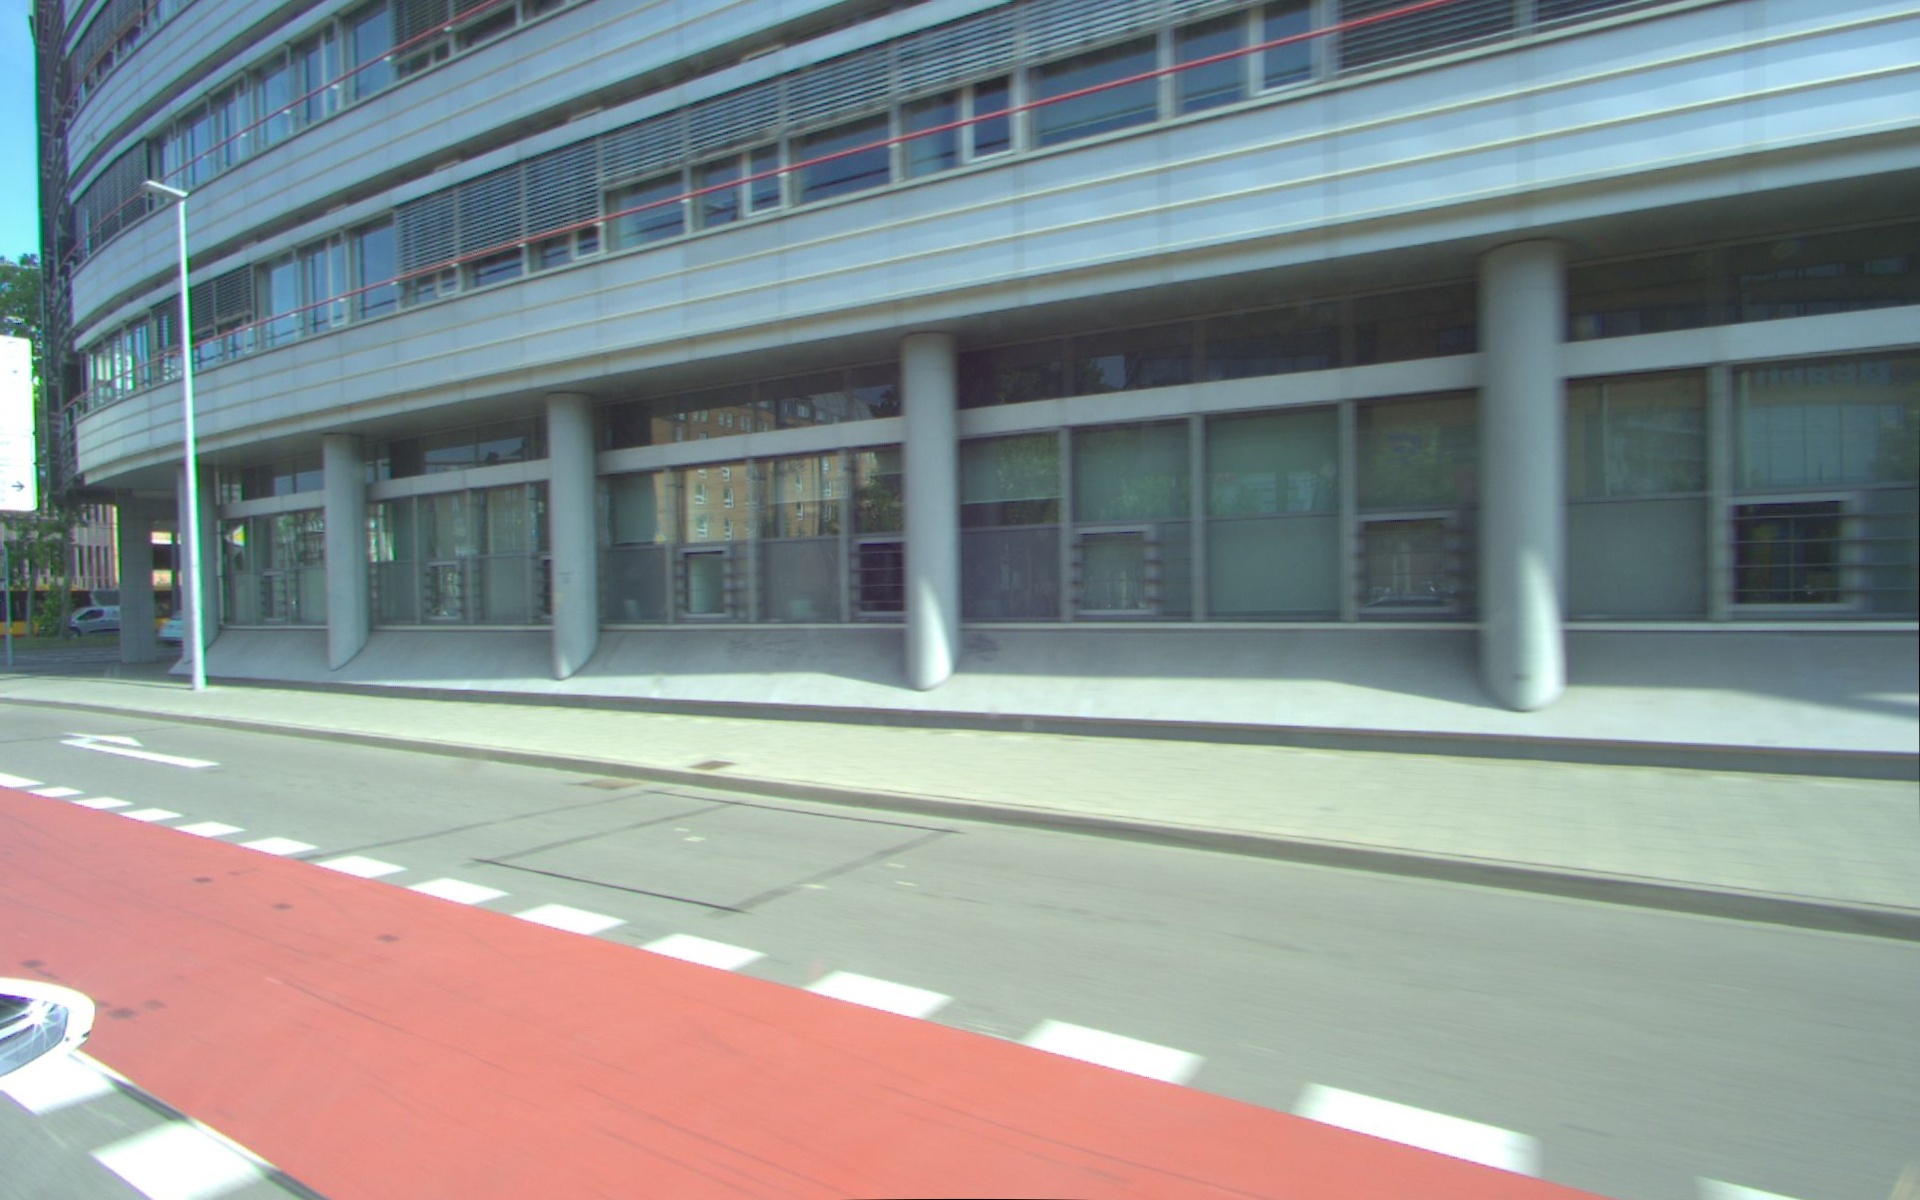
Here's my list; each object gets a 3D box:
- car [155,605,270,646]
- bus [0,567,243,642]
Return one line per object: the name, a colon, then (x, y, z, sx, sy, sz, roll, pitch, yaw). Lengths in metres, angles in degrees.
car: (-31.266, 1.039, 41.967, 1.706, 1.562, 3.438, -2, -1, 22)
bus: (-49.674, 0.291, 55.321, 2.817, 3.860, 17.624, -2, -1, 21)
